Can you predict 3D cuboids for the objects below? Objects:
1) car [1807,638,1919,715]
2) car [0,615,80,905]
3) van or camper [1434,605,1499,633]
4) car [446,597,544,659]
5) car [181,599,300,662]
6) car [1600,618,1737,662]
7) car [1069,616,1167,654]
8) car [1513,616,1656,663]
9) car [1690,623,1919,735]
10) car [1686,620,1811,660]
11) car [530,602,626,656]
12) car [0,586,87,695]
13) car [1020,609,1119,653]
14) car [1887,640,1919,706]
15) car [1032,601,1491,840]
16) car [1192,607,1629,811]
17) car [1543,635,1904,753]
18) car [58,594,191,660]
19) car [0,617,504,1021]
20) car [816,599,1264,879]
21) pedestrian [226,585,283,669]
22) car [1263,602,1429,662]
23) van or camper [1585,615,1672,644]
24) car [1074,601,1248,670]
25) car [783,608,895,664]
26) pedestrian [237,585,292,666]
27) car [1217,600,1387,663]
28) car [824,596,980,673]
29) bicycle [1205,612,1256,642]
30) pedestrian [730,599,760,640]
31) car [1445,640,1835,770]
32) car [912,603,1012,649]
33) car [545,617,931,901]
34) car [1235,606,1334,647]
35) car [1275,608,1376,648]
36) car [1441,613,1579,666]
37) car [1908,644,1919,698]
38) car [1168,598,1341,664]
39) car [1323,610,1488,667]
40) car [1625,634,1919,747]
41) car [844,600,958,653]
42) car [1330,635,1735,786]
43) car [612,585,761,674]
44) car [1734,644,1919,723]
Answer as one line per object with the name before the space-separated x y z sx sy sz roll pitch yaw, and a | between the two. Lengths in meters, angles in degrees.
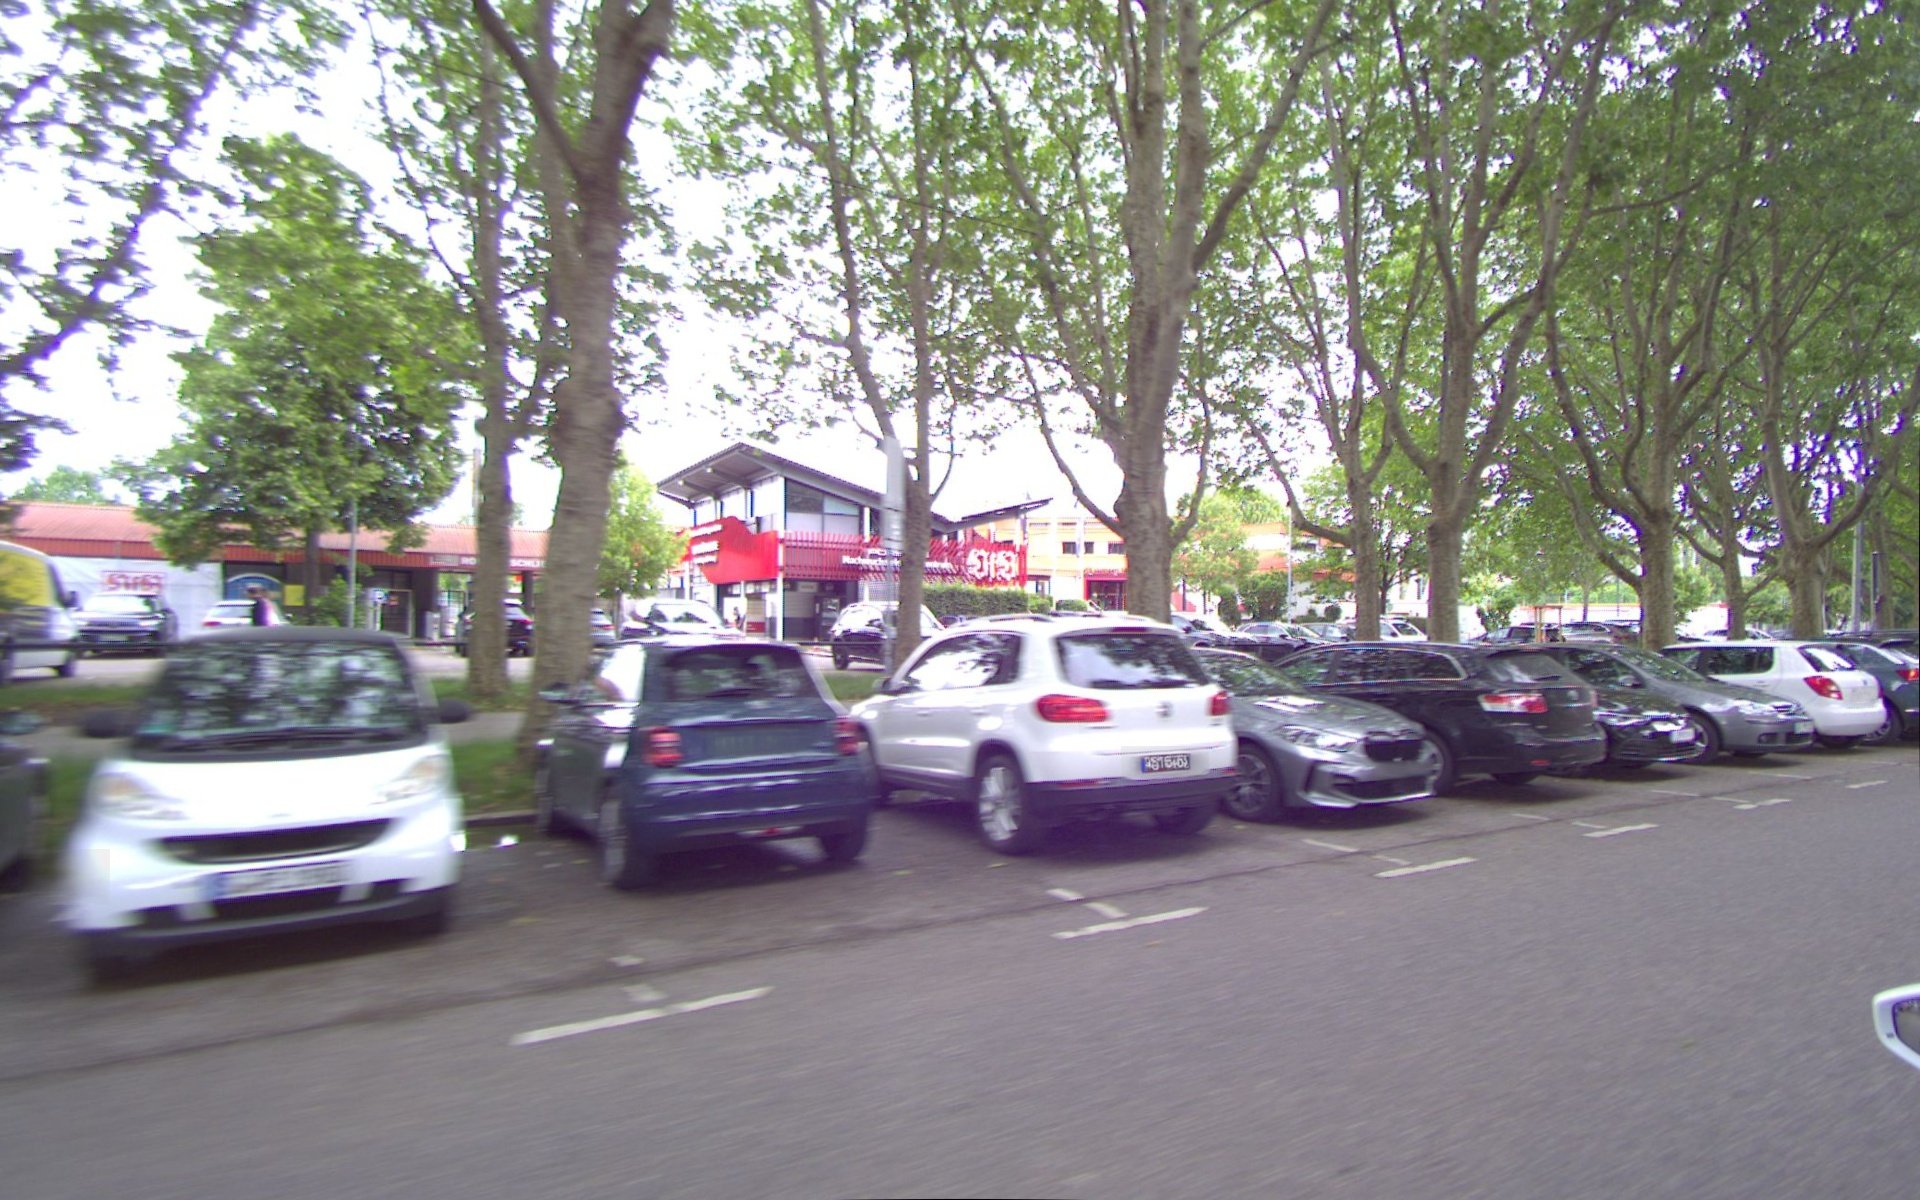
car | 19.717 1.486 19.691 1.684 1.501 4.441 1 -2 -31
car | -5.715 0.829 4.676 1.836 1.472 3.963 2 -1 -33
van or camper | 39.097 1.484 77.457 5.243 2.040 1.983 2 -1 -31
car | -13.646 0.774 29.348 1.979 1.648 3.962 2 -1 -34
car | -19.297 0.771 27.156 2.158 1.541 4.916 2 -1 -31
car | 31.789 1.776 45.196 2.270 1.785 4.496 2 -1 -30
car | 6.635 1.456 42.484 1.978 1.446 3.966 2 -1 -31
car | 25.845 1.621 41.751 2.270 1.748 4.529 2 -1 -30
car | 15.019 1.277 17.030 1.732 1.730 3.911 1 -2 -31
car | 38.255 1.912 48.829 2.107 1.732 4.299 2 -1 -30
car | -12.256 0.906 32.084 1.979 1.571 3.994 2 -1 -34
car | -16.472 0.573 16.621 2.071 1.617 5.321 2 -1 -31
car | 4.464 1.257 41.431 1.979 1.647 3.963 2 -1 -33
car | 21.928 1.522 20.646 1.684 1.416 3.911 1 -2 -31
car | 2.530 0.894 9.416 1.833 1.704 3.970 2 -1 -29
car | 4.555 0.966 10.780 1.833 1.704 3.970 2 -1 -29
car | 11.152 1.291 15.019 1.680 1.505 3.982 1 -2 -25
car | -21.246 0.641 25.717 1.914 1.530 3.969 1 0 -29
car | -3.897 0.895 6.001 1.833 1.472 3.970 2 -1 -29
car | 0.378 0.880 8.356 1.833 1.704 3.970 2 -1 -29
pedestrian | -15.740 0.601 22.430 0.907 1.824 0.813 2 0 -30
car | 12.879 1.042 33.807 2.159 1.821 4.914 2 -1 -32
van or camper | 44.053 1.926 66.250 2.107 1.732 4.299 2 -1 -30
car | 5.678 0.962 28.978 2.159 1.821 4.914 1 -1 -32
car | -4.480 1.271 36.430 2.159 1.821 4.914 2 -1 -32
pedestrian | -16.120 0.584 23.310 0.907 1.824 0.937 2 0 -30
car | 10.857 0.969 32.292 2.159 1.821 4.914 2 -1 -32
car | -1.547 0.883 24.952 1.978 1.743 4.529 1 -3 -32
bicycle | 14.670 1.448 54.419 2.769 1.560 1.044 2 -1 -30
pedestrian | -9.076 0.826 42.336 0.976 1.679 0.835 2 0 -30
car | 8.820 1.266 13.402 1.684 1.439 3.974 1 -2 -31
car | 0.021 0.971 38.911 1.979 1.647 3.963 2 -1 -33
car | -1.943 0.923 7.665 1.833 1.472 3.970 2 -1 -29
car | 16.190 1.301 50.344 2.265 1.880 4.565 2 -1 -25
car | 18.636 1.382 51.440 2.265 1.880 4.565 2 -1 -25
car | 21.351 1.511 39.135 2.005 1.885 4.299 2 -1 -30
car | 25.969 1.731 24.017 1.878 1.365 4.446 1 -2 -28
car | 8.908 0.898 30.855 2.159 1.821 4.914 2 -1 -32
car | 15.388 1.283 34.960 2.159 1.821 4.914 1 -1 -32
car | 12.960 1.314 15.719 1.709 1.536 3.911 1 -2 -31
car | -2.289 0.939 37.663 2.159 1.821 4.914 2 -1 -32
car | 6.811 1.211 12.384 1.823 1.387 3.966 2 -1 -31
car | -6.159 0.688 22.243 1.978 1.743 4.529 1 -3 -32
car | 17.324 1.523 18.968 1.806 1.382 3.911 1 -2 -31
